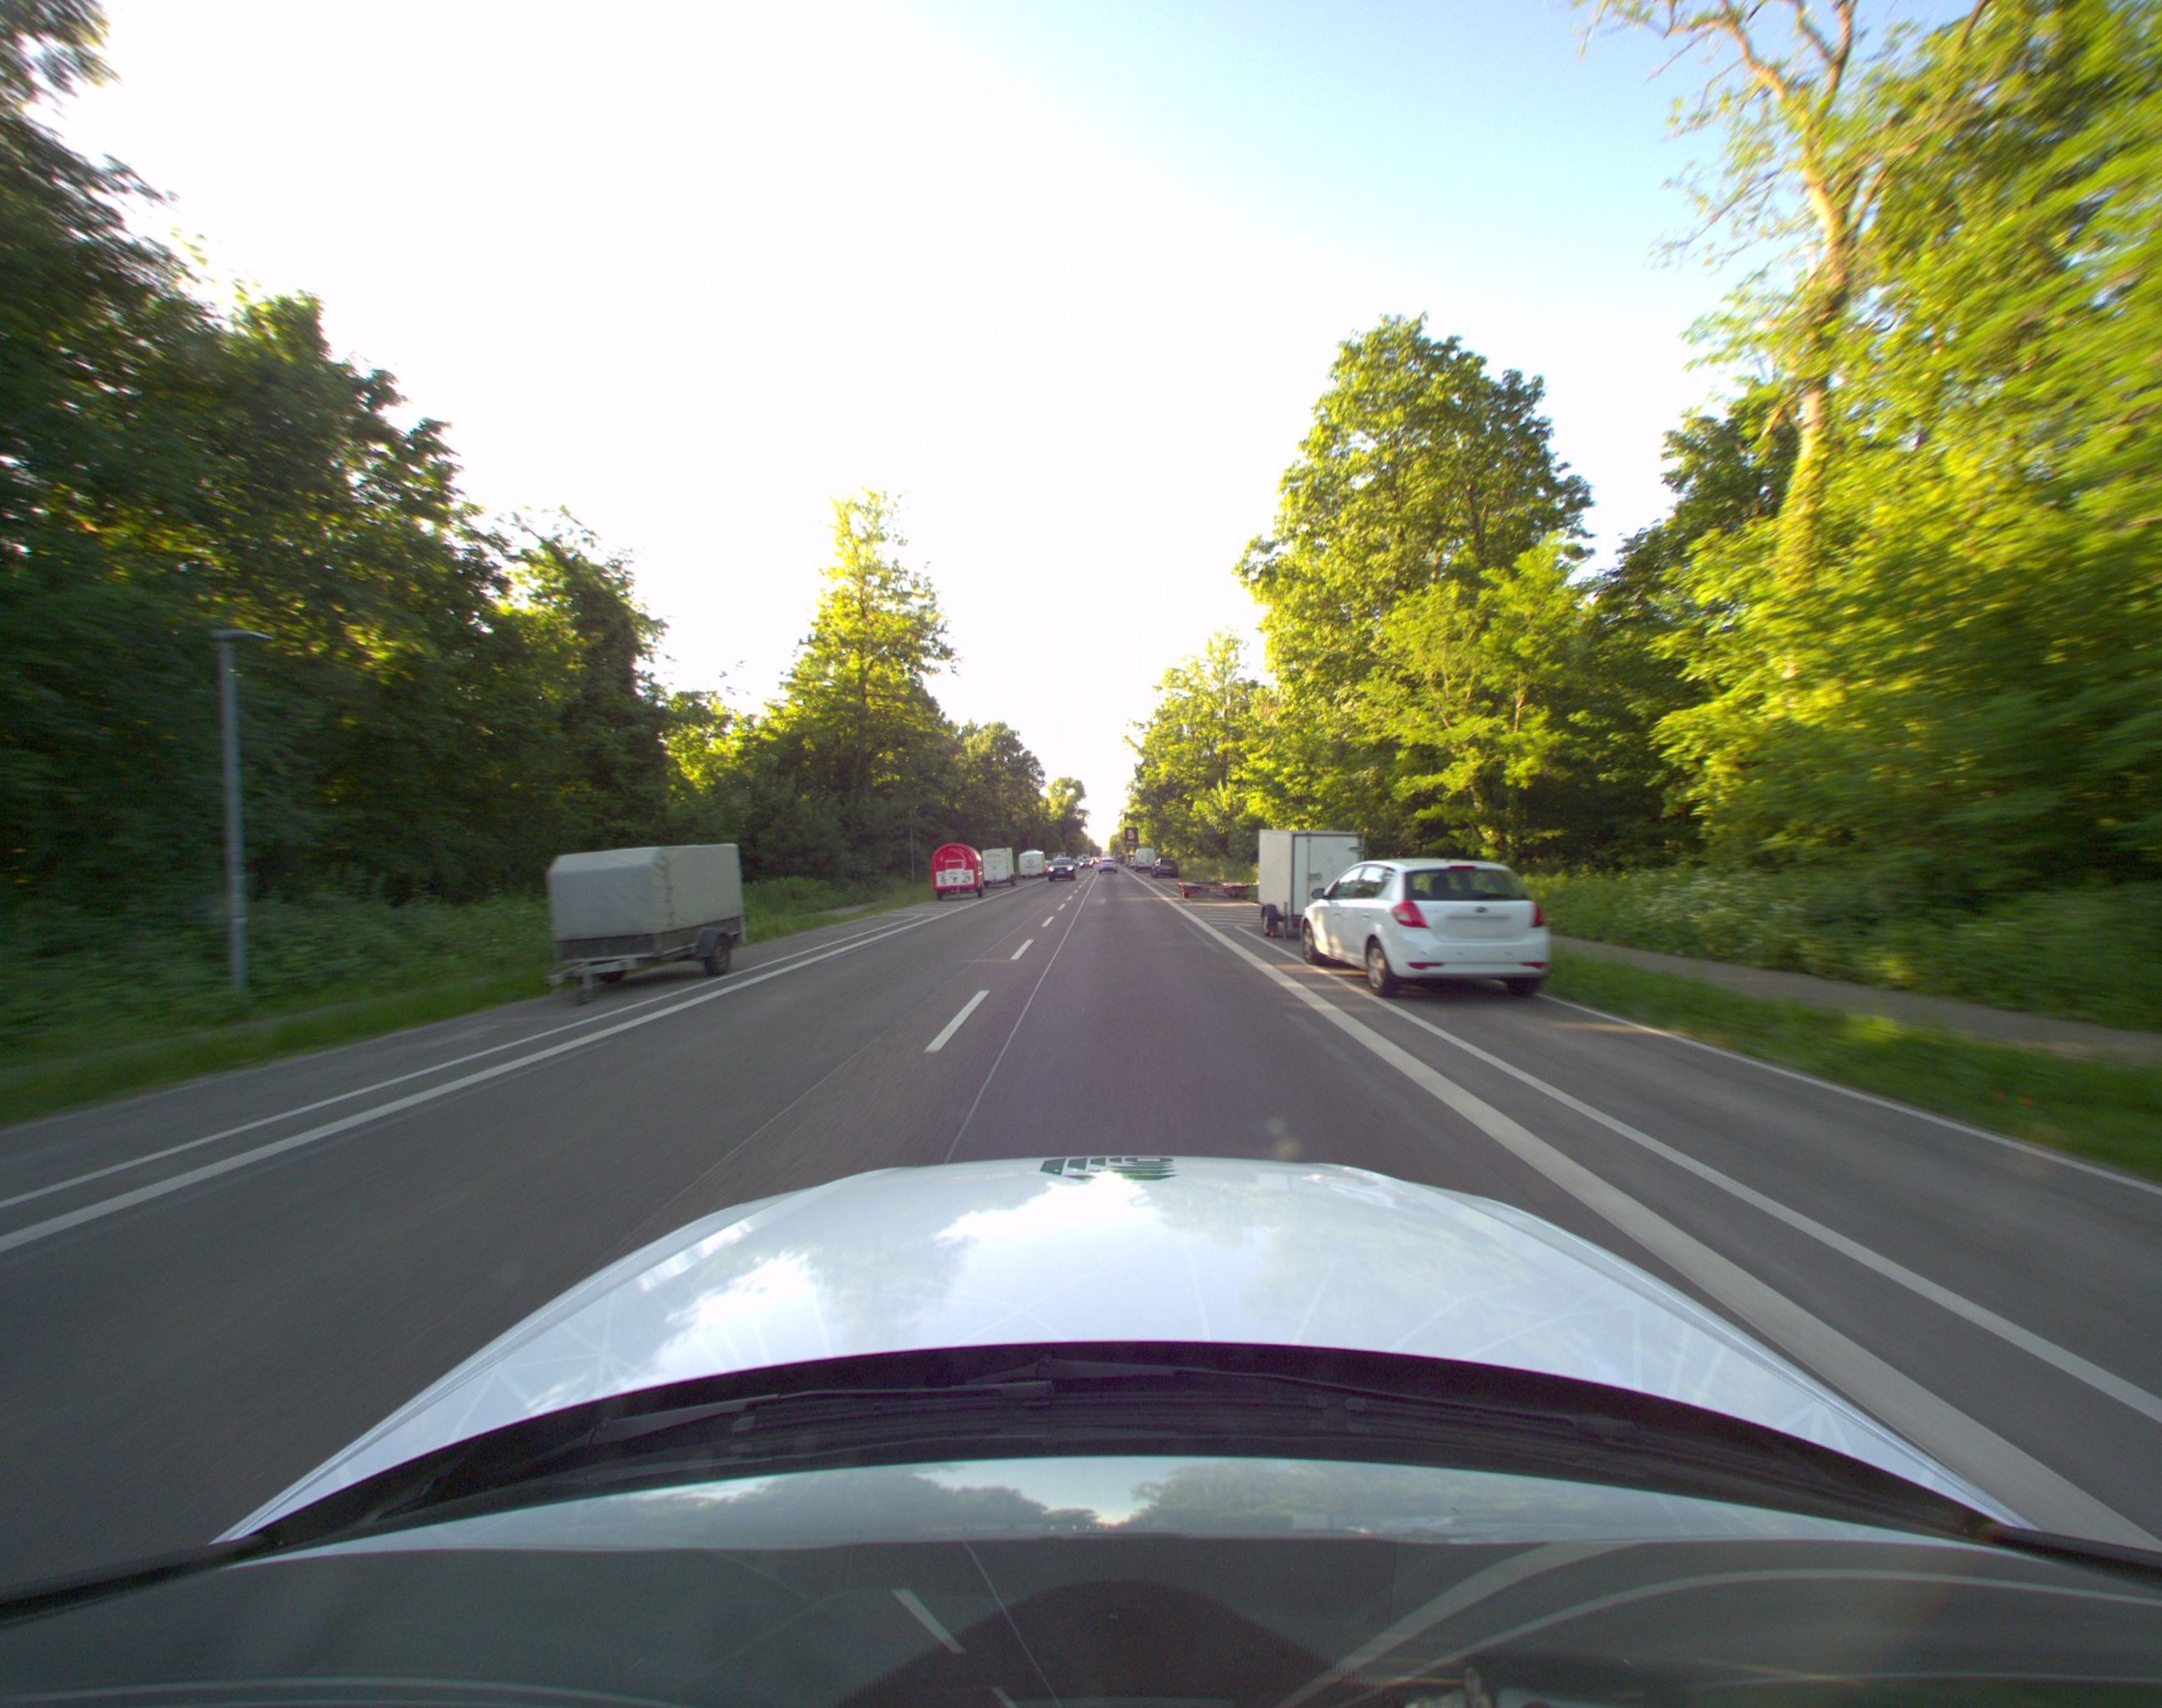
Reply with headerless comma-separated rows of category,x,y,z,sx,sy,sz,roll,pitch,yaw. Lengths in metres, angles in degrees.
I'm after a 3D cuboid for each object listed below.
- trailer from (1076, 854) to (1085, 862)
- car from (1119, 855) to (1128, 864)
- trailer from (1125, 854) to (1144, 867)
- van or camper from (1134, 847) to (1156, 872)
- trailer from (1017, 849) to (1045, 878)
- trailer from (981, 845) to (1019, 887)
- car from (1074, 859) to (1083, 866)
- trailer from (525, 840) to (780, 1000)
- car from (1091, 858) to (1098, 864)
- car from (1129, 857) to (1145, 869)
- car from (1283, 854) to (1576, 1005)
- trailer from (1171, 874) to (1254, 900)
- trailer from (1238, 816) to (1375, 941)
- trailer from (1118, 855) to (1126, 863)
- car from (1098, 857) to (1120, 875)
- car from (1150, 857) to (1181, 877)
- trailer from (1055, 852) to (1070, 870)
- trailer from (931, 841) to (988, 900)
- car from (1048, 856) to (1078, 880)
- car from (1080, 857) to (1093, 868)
trailer,-0.209,1.170,228.125,2.066,2.293,3.490,-3,-1,4
car,9.526,1.287,183.180,2.105,2.014,5.042,0,0,2
trailer,8.767,1.027,133.780,1.945,2.023,3.864,-2,0,21
van or camper,6.646,0.589,85.030,2.117,2.482,6.309,-2,0,3
trailer,-4.512,0.856,74.097,2.340,2.529,4.341,-2,0,-2
trailer,-5.095,0.728,51.533,2.061,2.480,3.558,-2,0,-2
car,-0.529,1.997,188.310,1.860,1.450,4.072,-5,-1,2
trailer,-6.435,0.895,12.752,1.846,2.013,3.563,-4,0,2
car,3.392,1.767,204.188,1.598,1.421,3.519,-3,0,2
car,7.241,1.110,105.598,1.729,1.488,4.401,0,0,1
car,4.041,0.764,10.404,1.880,1.468,4.571,-1,0,2
trailer,4.824,1.195,30.825,2.423,0.798,5.661,-1,-1,2
trailer,4.366,0.444,16.302,1.748,2.162,3.540,-2,0,1
trailer,11.418,1.464,227.276,1.600,2.112,2.409,-1,-1,22
car,2.761,1.147,80.621,1.986,1.640,4.002,-2,0,2
car,6.333,0.939,61.416,1.829,1.421,4.595,1,0,-1
trailer,-2.768,1.018,122.638,1.986,2.621,4.087,-2,0,2
trailer,-5.467,0.711,37.091,2.061,2.480,3.558,-2,0,-2
car,-1.233,1.007,58.769,1.811,1.587,4.461,-3,-1,2
car,0.850,1.303,120.683,1.813,1.532,4.532,-3,-1,2
